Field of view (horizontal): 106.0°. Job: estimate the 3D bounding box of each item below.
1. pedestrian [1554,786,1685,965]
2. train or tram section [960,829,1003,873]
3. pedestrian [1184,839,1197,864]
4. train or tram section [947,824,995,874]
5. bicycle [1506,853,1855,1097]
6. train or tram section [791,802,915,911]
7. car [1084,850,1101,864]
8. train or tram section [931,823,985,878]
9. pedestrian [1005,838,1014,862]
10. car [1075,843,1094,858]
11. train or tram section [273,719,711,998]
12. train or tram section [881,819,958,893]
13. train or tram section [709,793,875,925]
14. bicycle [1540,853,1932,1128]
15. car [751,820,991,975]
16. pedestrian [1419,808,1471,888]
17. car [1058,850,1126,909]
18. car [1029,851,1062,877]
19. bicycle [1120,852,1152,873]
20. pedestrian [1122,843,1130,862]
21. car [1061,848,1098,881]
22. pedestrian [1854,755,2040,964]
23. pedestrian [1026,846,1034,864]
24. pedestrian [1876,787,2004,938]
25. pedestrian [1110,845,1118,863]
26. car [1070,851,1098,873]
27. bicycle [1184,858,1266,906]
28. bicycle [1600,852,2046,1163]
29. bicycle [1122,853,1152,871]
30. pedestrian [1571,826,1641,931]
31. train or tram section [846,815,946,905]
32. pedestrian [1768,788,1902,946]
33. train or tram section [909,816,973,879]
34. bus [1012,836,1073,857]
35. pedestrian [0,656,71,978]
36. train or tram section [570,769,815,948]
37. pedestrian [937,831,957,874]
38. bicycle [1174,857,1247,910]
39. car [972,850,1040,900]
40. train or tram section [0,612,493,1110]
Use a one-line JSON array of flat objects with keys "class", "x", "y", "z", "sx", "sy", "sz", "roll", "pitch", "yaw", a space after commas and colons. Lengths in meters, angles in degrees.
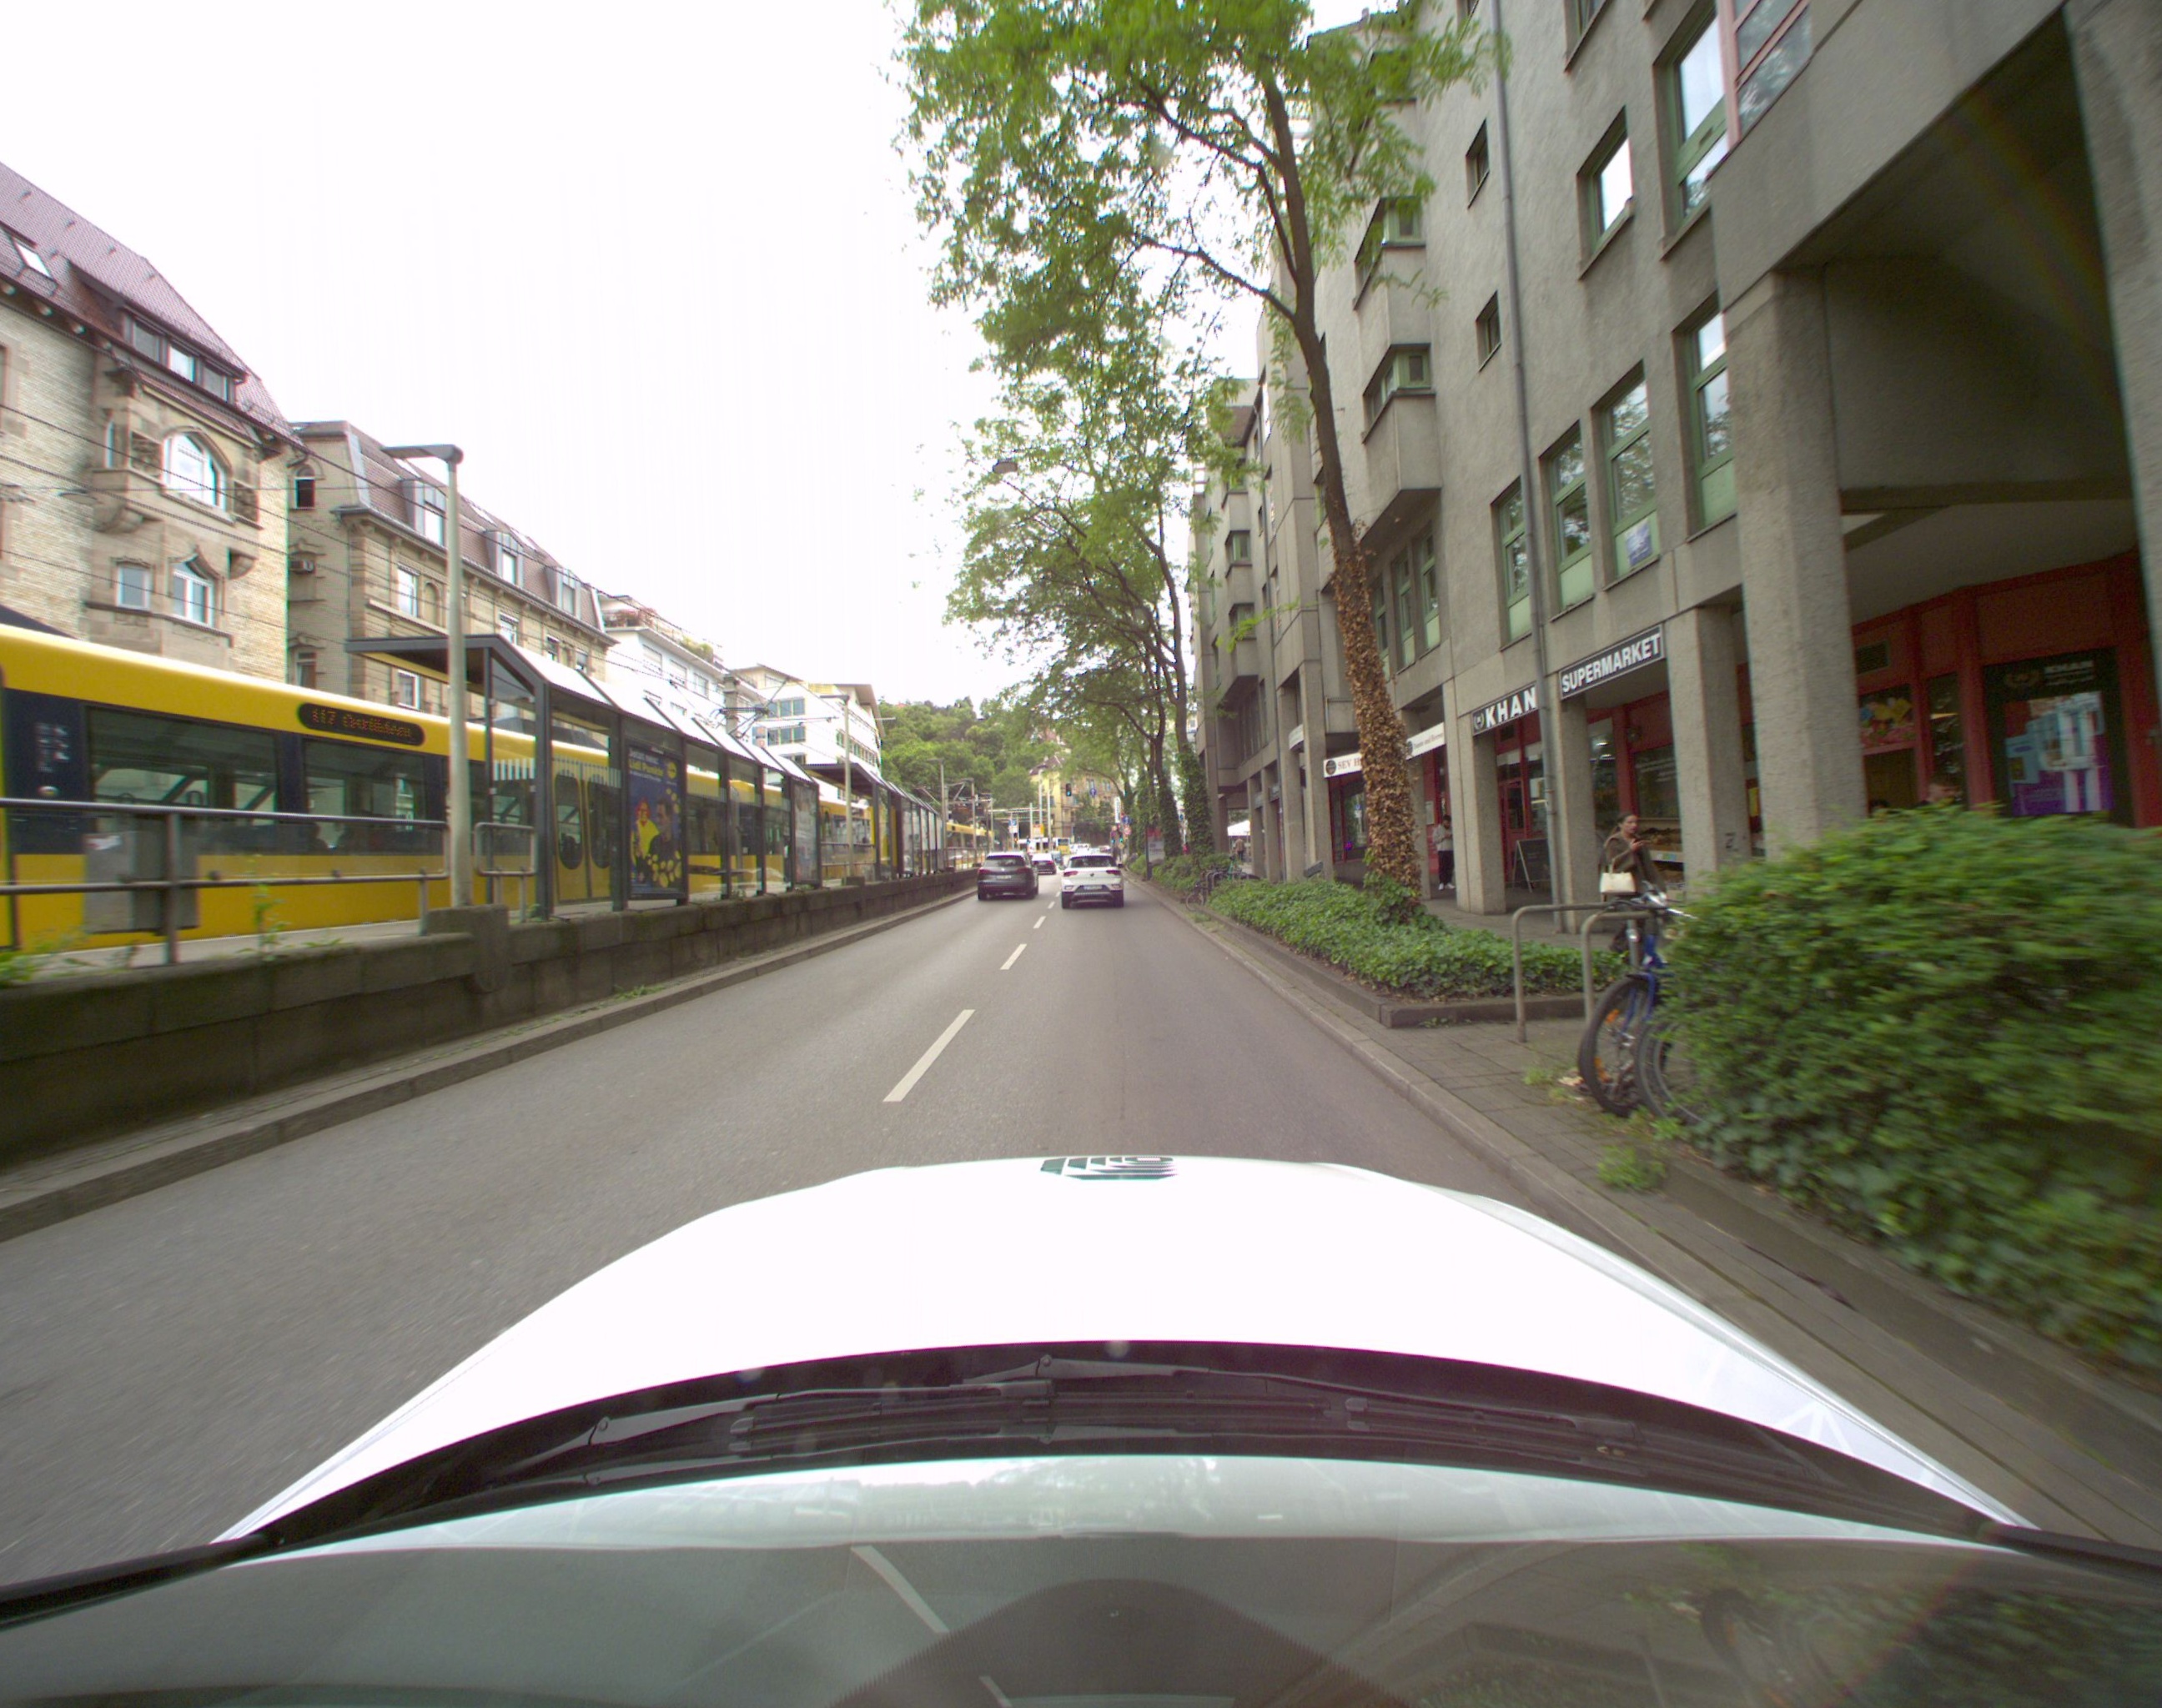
[{"class": "pedestrian", "x": 5.749, "y": 0.208, "z": 8.742, "sx": 0.760, "sy": 1.782, "sz": 0.847, "roll": -4, "pitch": 1, "yaw": -4}, {"class": "train or tram section", "x": -8.647, "y": -0.215, "z": 71.443, "sx": 2.804, "sy": 3.666, "sz": 6.750, "roll": -1, "pitch": -1, "yaw": 0}, {"class": "pedestrian", "x": 7.225, "y": -0.144, "z": 53.769, "sx": 0.638, "sy": 1.608, "sz": 0.584, "roll": 0, "pitch": -2, "yaw": -20}, {"class": "train or tram section", "x": -8.649, "y": -0.357, "z": 64.672, "sx": 2.804, "sy": 3.666, "sz": 6.750, "roll": -1, "pitch": -1, "yaw": 0}, {"class": "bicycle", "x": 3.415, "y": 0.649, "z": 4.674, "sx": 1.706, "sy": 1.184, "sz": 0.447, "roll": -4, "pitch": -1, "yaw": -7}, {"class": "train or tram section", "x": -8.359, "y": 0.118, "z": 30.681, "sx": 2.803, "sy": 3.666, "sz": 5.904, "roll": -1, "pitch": -1, "yaw": 1}, {"class": "car", "x": 1.421, "y": 0.392, "z": 101.898, "sx": 1.877, "sy": 1.684, "sz": 4.164, "roll": -1, "pitch": -1, "yaw": 3}, {"class": "train or tram section", "x": -8.635, "y": -0.222, "z": 57.910, "sx": 2.804, "sy": 3.666, "sz": 6.750, "roll": -1, "pitch": -1, "yaw": 0}, {"class": "pedestrian", "x": -6.212, "y": -0.331, "z": 70.626, "sx": 0.761, "sy": 2.014, "sz": 0.836, "roll": -1, "pitch": -2, "yaw": -6}, {"class": "car", "x": 0.493, "y": -0.484, "z": 119.750, "sx": 2.354, "sy": 2.014, "sz": 5.153, "roll": -1, "pitch": -1, "yaw": 4}, {"class": "train or tram section", "x": -8.857, "y": 0.073, "z": 13.299, "sx": 2.825, "sy": 3.521, "sz": 5.753, "roll": -1, "pitch": -1, "yaw": 1}, {"class": "train or tram section", "x": -8.628, "y": 0.120, "z": 44.361, "sx": 2.804, "sy": 3.666, "sz": 6.750, "roll": -1, "pitch": -1, "yaw": 0}, {"class": "train or tram section", "x": -8.518, "y": 0.153, "z": 24.840, "sx": 2.825, "sy": 3.521, "sz": 5.753, "roll": -1, "pitch": -1, "yaw": 1}, {"class": "bicycle", "x": 3.339, "y": 0.650, "z": 4.191, "sx": 1.706, "sy": 1.184, "sz": 0.447, "roll": -4, "pitch": -1, "yaw": -7}, {"class": "car", "x": -3.080, "y": 0.638, "z": 13.387, "sx": 2.355, "sy": 2.014, "sz": 5.151, "roll": -1, "pitch": -1, "yaw": 3}, {"class": "pedestrian", "x": 8.572, "y": -0.151, "z": 19.207, "sx": 0.828, "sy": 1.803, "sz": 0.724, "roll": -4, "pitch": 1, "yaw": 3}, {"class": "car", "x": 0.327, "y": 0.699, "z": 24.367, "sx": 1.831, "sy": 1.584, "sz": 4.157, "roll": -1, "pitch": 0, "yaw": 1}, {"class": "car", "x": -2.417, "y": 0.631, "z": 56.061, "sx": 1.904, "sy": 1.689, "sz": 4.003, "roll": -1, "pitch": 0, "yaw": 3}, {"class": "bicycle", "x": 3.476, "y": 0.565, "z": 51.481, "sx": 1.868, "sy": 1.266, "sz": 0.767, "roll": -1, "pitch": -2, "yaw": 11}, {"class": "pedestrian", "x": 4.880, "y": -0.166, "z": 88.169, "sx": 0.758, "sy": 2.014, "sz": 0.840, "roll": -1, "pitch": -2, "yaw": 6}, {"class": "car", "x": -0.061, "y": 0.594, "z": 44.083, "sx": 1.878, "sy": 1.684, "sz": 4.161, "roll": -1, "pitch": -1, "yaw": 1}, {"class": "pedestrian", "x": 8.041, "y": 0.053, "z": 7.605, "sx": 0.829, "sy": 1.803, "sz": 0.723, "roll": -4, "pitch": -1, "yaw": 1}, {"class": "pedestrian", "x": -5.783, "y": 0.144, "z": 92.870, "sx": 0.759, "sy": 2.014, "sz": 0.838, "roll": -1, "pitch": -2, "yaw": 1}, {"class": "pedestrian", "x": 9.741, "y": 0.087, "z": 9.267, "sx": 0.613, "sy": 1.612, "sz": 0.765, "roll": -3, "pitch": 1, "yaw": 5}, {"class": "pedestrian", "x": 3.703, "y": 0.039, "z": 91.951, "sx": 0.758, "sy": 2.014, "sz": 0.840, "roll": -1, "pitch": -2, "yaw": 6}, {"class": "car", "x": 0.190, "y": 0.650, "z": 66.456, "sx": 1.882, "sy": 1.684, "sz": 4.152, "roll": -1, "pitch": -1, "yaw": -6}, {"class": "bicycle", "x": 3.659, "y": 0.700, "z": 20.718, "sx": 1.911, "sy": 1.076, "sz": 0.613, "roll": -4, "pitch": -1, "yaw": -2}, {"class": "bicycle", "x": 3.373, "y": 0.645, "z": 3.740, "sx": 1.706, "sy": 1.184, "sz": 0.447, "roll": -4, "pitch": -1, "yaw": -7}, {"class": "bicycle", "x": 3.673, "y": 0.541, "z": 52.973, "sx": 1.871, "sy": 1.137, "sz": 0.809, "roll": -1, "pitch": -2, "yaw": 6}, {"class": "pedestrian", "x": 8.429, "y": 0.384, "z": 13.076, "sx": 0.770, "sy": 1.612, "sz": 0.622, "roll": -2, "pitch": 2, "yaw": 44}, {"class": "train or tram section", "x": -8.198, "y": 0.265, "z": 37.011, "sx": 2.803, "sy": 3.666, "sz": 6.753, "roll": -1, "pitch": -1, "yaw": 1}, {"class": "pedestrian", "x": 8.802, "y": 0.156, "z": 9.531, "sx": 0.762, "sy": 1.723, "sz": 0.674, "roll": -5, "pitch": -2, "yaw": -10}, {"class": "train or tram section", "x": -8.646, "y": -0.364, "z": 51.135, "sx": 2.804, "sy": 3.666, "sz": 6.750, "roll": -1, "pitch": -1, "yaw": 0}, {"class": "bus", "x": -6.736, "y": -1.136, "z": 138.867, "sx": 3.399, "sy": 3.065, "sz": 13.173, "roll": 0, "pitch": -2, "yaw": -37}, {"class": "pedestrian", "x": -6.157, "y": -0.194, "z": 4.323, "sx": 0.715, "sy": 1.731, "sz": 0.671, "roll": -1, "pitch": -2, "yaw": 2}, {"class": "train or tram section", "x": -8.677, "y": 0.113, "z": 19.081, "sx": 2.825, "sy": 3.521, "sz": 5.753, "roll": -1, "pitch": -1, "yaw": 1}, {"class": "pedestrian", "x": -5.537, "y": -0.063, "z": 33.692, "sx": 0.625, "sy": 1.762, "sz": 0.846, "roll": -3, "pitch": 0, "yaw": 0}, {"class": "bicycle", "x": 3.093, "y": 0.692, "z": 19.502, "sx": 1.613, "sy": 1.128, "sz": 0.614, "roll": -4, "pitch": -1, "yaw": 4}, {"class": "car", "x": -2.610, "y": 0.701, "z": 29.240, "sx": 1.987, "sy": 1.636, "sz": 4.000, "roll": -2, "pitch": 0, "yaw": 0}, {"class": "train or tram section", "x": -9.012, "y": 0.082, "z": 7.543, "sx": 2.825, "sy": 3.521, "sz": 5.753, "roll": -1, "pitch": -1, "yaw": 1}]
